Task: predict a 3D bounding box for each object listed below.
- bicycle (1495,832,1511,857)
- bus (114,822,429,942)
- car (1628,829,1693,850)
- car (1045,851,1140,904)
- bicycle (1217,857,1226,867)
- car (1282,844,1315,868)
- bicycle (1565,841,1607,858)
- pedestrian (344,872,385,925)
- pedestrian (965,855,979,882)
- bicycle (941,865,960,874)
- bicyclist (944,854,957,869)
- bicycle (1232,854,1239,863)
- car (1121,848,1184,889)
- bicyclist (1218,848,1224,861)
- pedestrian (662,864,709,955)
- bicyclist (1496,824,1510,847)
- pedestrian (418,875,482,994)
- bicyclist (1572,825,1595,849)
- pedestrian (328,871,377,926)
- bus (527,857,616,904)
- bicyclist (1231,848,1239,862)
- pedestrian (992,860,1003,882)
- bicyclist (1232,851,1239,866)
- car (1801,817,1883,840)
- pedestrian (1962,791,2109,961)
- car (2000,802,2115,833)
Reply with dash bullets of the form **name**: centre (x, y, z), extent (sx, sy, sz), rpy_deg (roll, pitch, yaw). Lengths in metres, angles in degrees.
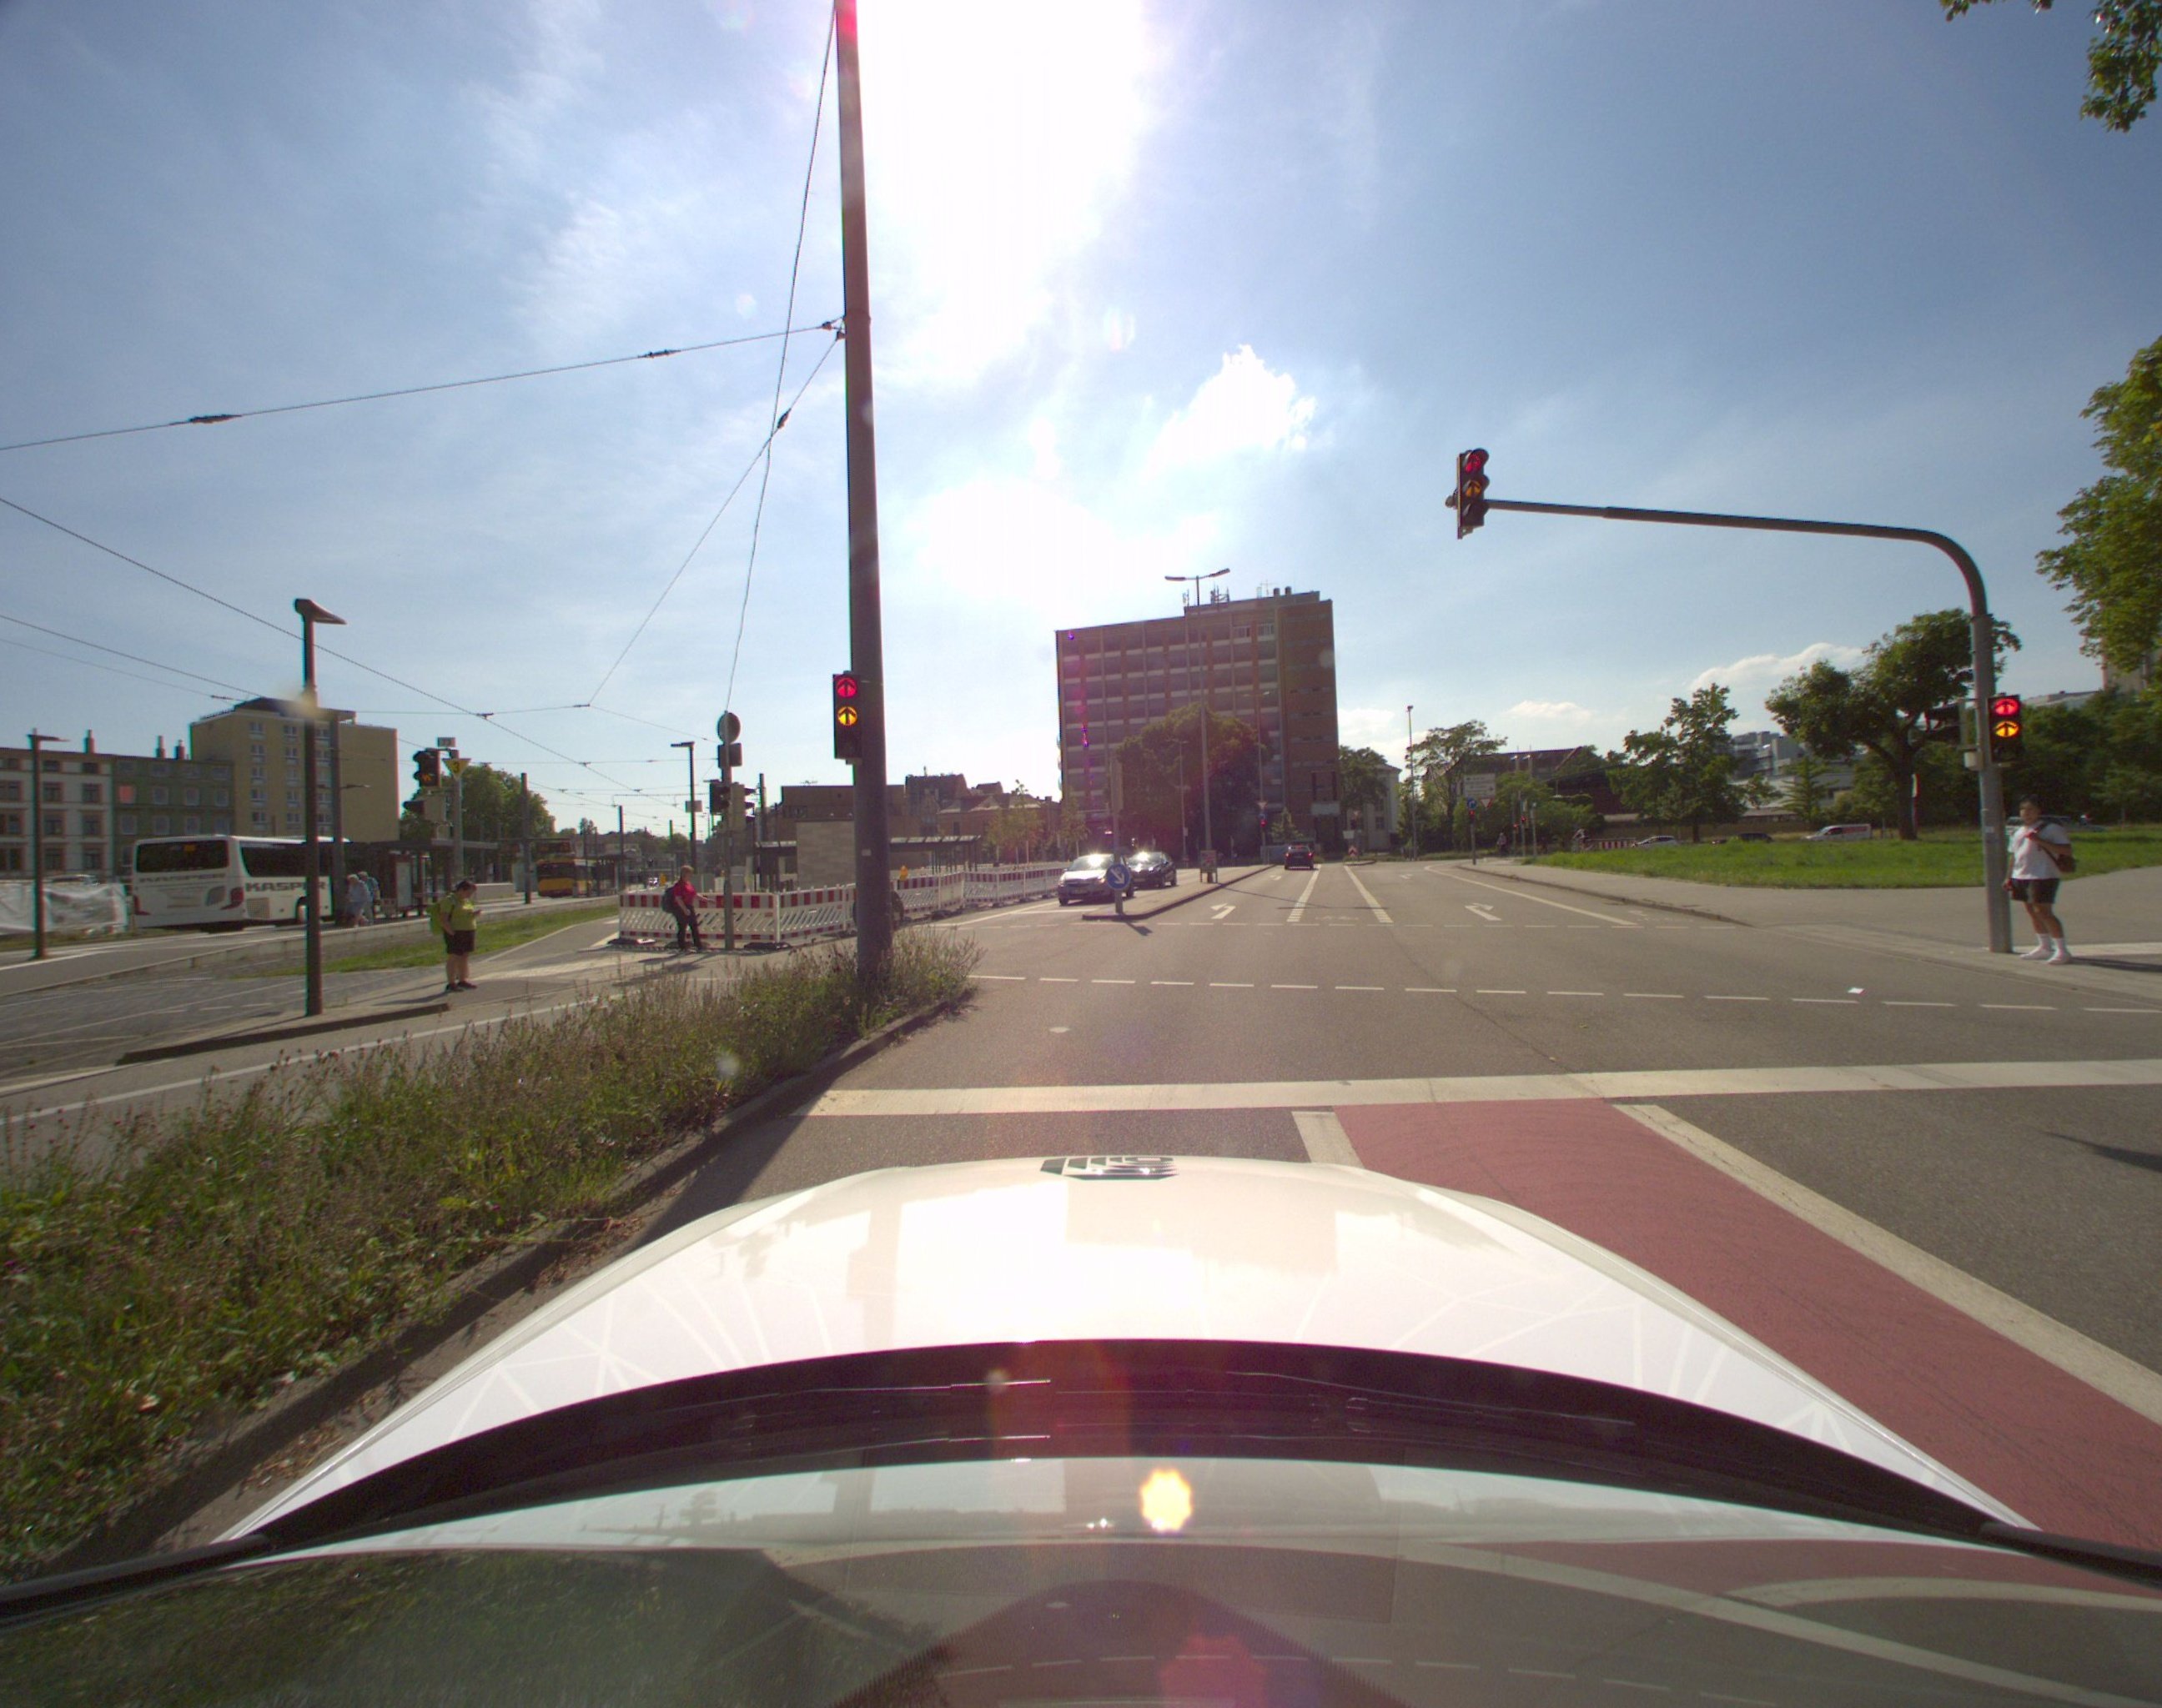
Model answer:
- **bicycle**: centre (31.308, -0.720, 60.400), extent (0.673, 1.765, 1.819), rpy_deg (-3, 0, 17)
- **bus**: centre (-29.427, 0.908, 30.856), extent (2.861, 3.489, 12.582), rpy_deg (-3, 0, -18)
- **car**: centre (48.856, -1.219, 68.749), extent (3.956, 1.464, 2.009), rpy_deg (-3, -1, 17)
- **car**: centre (0.464, 0.676, 25.460), extent (1.779, 1.412, 4.018), rpy_deg (-4, -1, 17)
- **bicycle**: centre (15.619, 0.904, 90.598), extent (0.699, 0.977, 2.039), rpy_deg (-3, 0, 15)
- **car**: centre (13.486, 0.093, 50.350), extent (1.766, 1.443, 3.835), rpy_deg (-1, 0, 17)
- **bicycle**: centre (31.311, -0.268, 50.490), extent (0.676, 0.916, 2.150), rpy_deg (-3, 0, -25)
- **pedestrian**: centre (-22.583, 1.406, 25.673), extent (0.684, 1.615, 0.586), rpy_deg (-2, 0, 2)
- **pedestrian**: centre (-7.471, 1.003, 55.832), extent (0.733, 1.752, 1.111), rpy_deg (-3, -3, 1)
- **bicycle**: centre (-13.007, 1.517, 81.308), extent (1.872, 0.792, 0.564), rpy_deg (-2, 1, 29)
- **bicyclist**: centre (-13.015, 0.754, 81.315), extent (1.154, 1.474, 0.567), rpy_deg (-3, 0, 29)
- **bicycle**: centre (16.685, 0.459, 88.104), extent (0.614, 0.961, 1.975), rpy_deg (-5, -1, 12)
- **car**: centre (2.894, 0.537, 32.347), extent (1.653, 1.451, 3.835), rpy_deg (-2, 0, 18)
- **bicyclist**: centre (15.548, 0.062, 90.319), extent (0.535, 1.417, 1.034), rpy_deg (-4, -2, 15)
- **pedestrian**: centre (-7.304, 1.009, 15.057), extent (0.347, 1.616, 0.689), rpy_deg (-3, 0, 18)
- **bicyclist**: centre (31.293, -1.355, 60.414), extent (0.673, 1.655, 0.923), rpy_deg (-3, 0, 17)
- **pedestrian**: centre (-8.637, 1.078, 11.151), extent (0.671, 1.543, 0.418), rpy_deg (0, 1, -40)
- **bicyclist**: centre (31.195, -1.059, 50.595), extent (0.497, 1.470, 1.133), rpy_deg (0, -1, -25)
- **pedestrian**: centre (-22.067, 1.339, 24.676), extent (0.789, 1.615, 0.662), rpy_deg (-2, 0, -1)
- **bus**: centre (-40.487, 2.045, 65.322), extent (2.861, 3.281, 12.582), rpy_deg (-3, 0, -18)
- **bicyclist**: centre (16.654, 0.088, 88.111), extent (0.614, 1.443, 0.924), rpy_deg (-5, -1, 12)
- **pedestrian**: centre (-5.881, 1.181, 57.723), extent (0.628, 1.491, 0.617), rpy_deg (-3, 0, 1)
- **bicyclist**: centre (16.685, 0.459, 88.104), extent (0.614, 1.582, 1.017), rpy_deg (-5, -1, 12)
- **car**: centre (60.311, -1.985, 64.623), extent (4.276, 1.569, 1.919), rpy_deg (-3, 0, 17)
- **pedestrian**: centre (11.197, 0.243, 9.583), extent (0.650, 1.874, 0.796), rpy_deg (-4, 0, -1)
- **car**: centre (57.318, -2.134, 47.890), extent (3.955, 1.508, 1.760), rpy_deg (-3, 0, 17)
